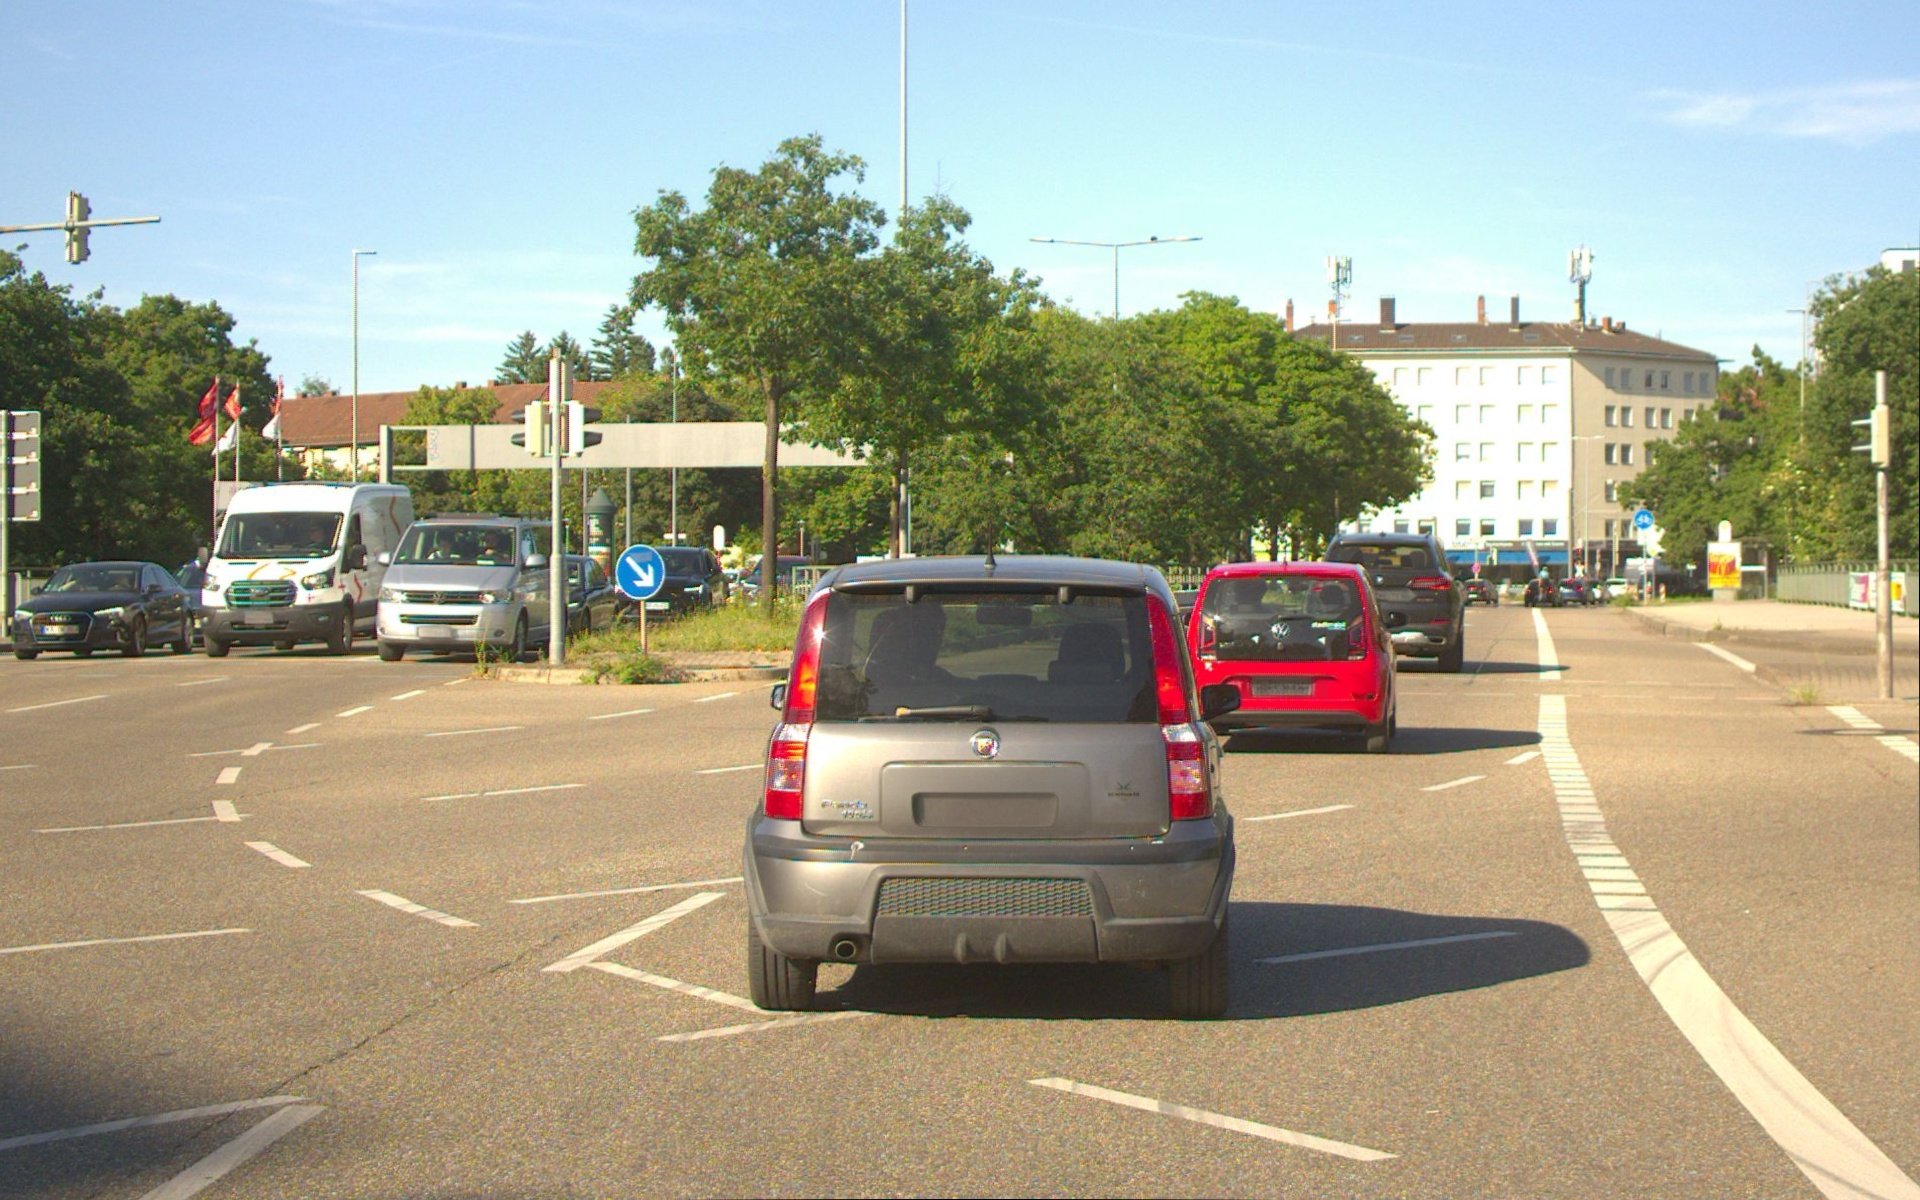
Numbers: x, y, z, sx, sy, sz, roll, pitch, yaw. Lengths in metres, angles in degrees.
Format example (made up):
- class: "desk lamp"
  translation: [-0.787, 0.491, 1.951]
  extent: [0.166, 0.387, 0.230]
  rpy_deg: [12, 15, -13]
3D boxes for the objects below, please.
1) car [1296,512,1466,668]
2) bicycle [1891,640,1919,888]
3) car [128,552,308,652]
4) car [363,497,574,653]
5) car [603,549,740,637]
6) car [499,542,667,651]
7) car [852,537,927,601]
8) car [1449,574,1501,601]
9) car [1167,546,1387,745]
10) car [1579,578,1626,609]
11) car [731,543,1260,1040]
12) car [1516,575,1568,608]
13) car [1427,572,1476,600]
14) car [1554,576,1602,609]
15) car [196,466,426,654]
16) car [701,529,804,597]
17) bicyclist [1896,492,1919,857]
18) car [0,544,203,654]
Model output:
- class: "car"
  translation: [5.427, -0.111, 43.963]
  extent: [1.946, 1.834, 4.151]
  rpy_deg: [2, 0, 9]
- class: "bicycle"
  translation: [4.739, 0.760, 15.762]
  extent: [0.691, 1.098, 1.825]
  rpy_deg: [1, 1, 9]
- class: "car"
  translation: [-12.185, 0.005, 56.740]
  extent: [1.811, 1.536, 4.616]
  rpy_deg: [-1, 1, 2]
- class: "car"
  translation: [-6.625, -0.356, 46.857]
  extent: [1.937, 2.001, 4.931]
  rpy_deg: [0, 1, 3]
- class: "car"
  translation: [-5.496, -0.154, 66.042]
  extent: [1.937, 1.617, 4.505]
  rpy_deg: [0, 1, 4]
- class: "car"
  translation: [-5.847, -0.083, 53.838]
  extent: [1.937, 1.617, 4.505]
  rpy_deg: [0, 1, 3]
- class: "car"
  translation: [-2.256, -0.996, 111.346]
  extent: [1.994, 2.007, 4.333]
  rpy_deg: [0, 0, 5]
- class: "car"
  translation: [30.038, -0.740, 200.492]
  extent: [1.948, 1.523, 4.092]
  rpy_deg: [0, 1, 25]
- class: "car"
  translation: [2.529, 0.313, 27.705]
  extent: [1.618, 1.458, 3.750]
  rpy_deg: [1, 1, 5]
- class: "car"
  translation: [38.050, -0.387, 203.471]
  extent: [1.868, 1.675, 3.903]
  rpy_deg: [1, -1, 24]
- class: "car"
  translation: [0.169, 0.568, 12.620]
  extent: [1.617, 1.510, 3.820]
  rpy_deg: [1, 1, 2]
- class: "car"
  translation: [31.848, -0.464, 188.075]
  extent: [1.868, 1.675, 3.903]
  rpy_deg: [1, -1, 23]
- class: "car"
  translation: [27.399, -0.810, 191.473]
  extent: [1.947, 1.523, 4.093]
  rpy_deg: [0, 1, 20]
- class: "car"
  translation: [35.185, -0.423, 195.709]
  extent: [1.868, 1.675, 3.903]
  rpy_deg: [1, -1, 22]
- class: "car"
  translation: [-9.340, -0.586, 50.002]
  extent: [1.937, 2.567, 6.088]
  rpy_deg: [0, 1, 3]
- class: "car"
  translation: [-5.048, -0.908, 84.159]
  extent: [1.937, 1.617, 4.505]
  rpy_deg: [0, 1, 4]
- class: "bicyclist"
  translation: [4.765, 0.336, 15.822]
  extent: [0.724, 1.654, 1.112]
  rpy_deg: [1, 1, 9]
- class: "car"
  translation: [-12.488, -0.047, 50.258]
  extent: [1.936, 1.502, 4.000]
  rpy_deg: [-1, 1, 0]
